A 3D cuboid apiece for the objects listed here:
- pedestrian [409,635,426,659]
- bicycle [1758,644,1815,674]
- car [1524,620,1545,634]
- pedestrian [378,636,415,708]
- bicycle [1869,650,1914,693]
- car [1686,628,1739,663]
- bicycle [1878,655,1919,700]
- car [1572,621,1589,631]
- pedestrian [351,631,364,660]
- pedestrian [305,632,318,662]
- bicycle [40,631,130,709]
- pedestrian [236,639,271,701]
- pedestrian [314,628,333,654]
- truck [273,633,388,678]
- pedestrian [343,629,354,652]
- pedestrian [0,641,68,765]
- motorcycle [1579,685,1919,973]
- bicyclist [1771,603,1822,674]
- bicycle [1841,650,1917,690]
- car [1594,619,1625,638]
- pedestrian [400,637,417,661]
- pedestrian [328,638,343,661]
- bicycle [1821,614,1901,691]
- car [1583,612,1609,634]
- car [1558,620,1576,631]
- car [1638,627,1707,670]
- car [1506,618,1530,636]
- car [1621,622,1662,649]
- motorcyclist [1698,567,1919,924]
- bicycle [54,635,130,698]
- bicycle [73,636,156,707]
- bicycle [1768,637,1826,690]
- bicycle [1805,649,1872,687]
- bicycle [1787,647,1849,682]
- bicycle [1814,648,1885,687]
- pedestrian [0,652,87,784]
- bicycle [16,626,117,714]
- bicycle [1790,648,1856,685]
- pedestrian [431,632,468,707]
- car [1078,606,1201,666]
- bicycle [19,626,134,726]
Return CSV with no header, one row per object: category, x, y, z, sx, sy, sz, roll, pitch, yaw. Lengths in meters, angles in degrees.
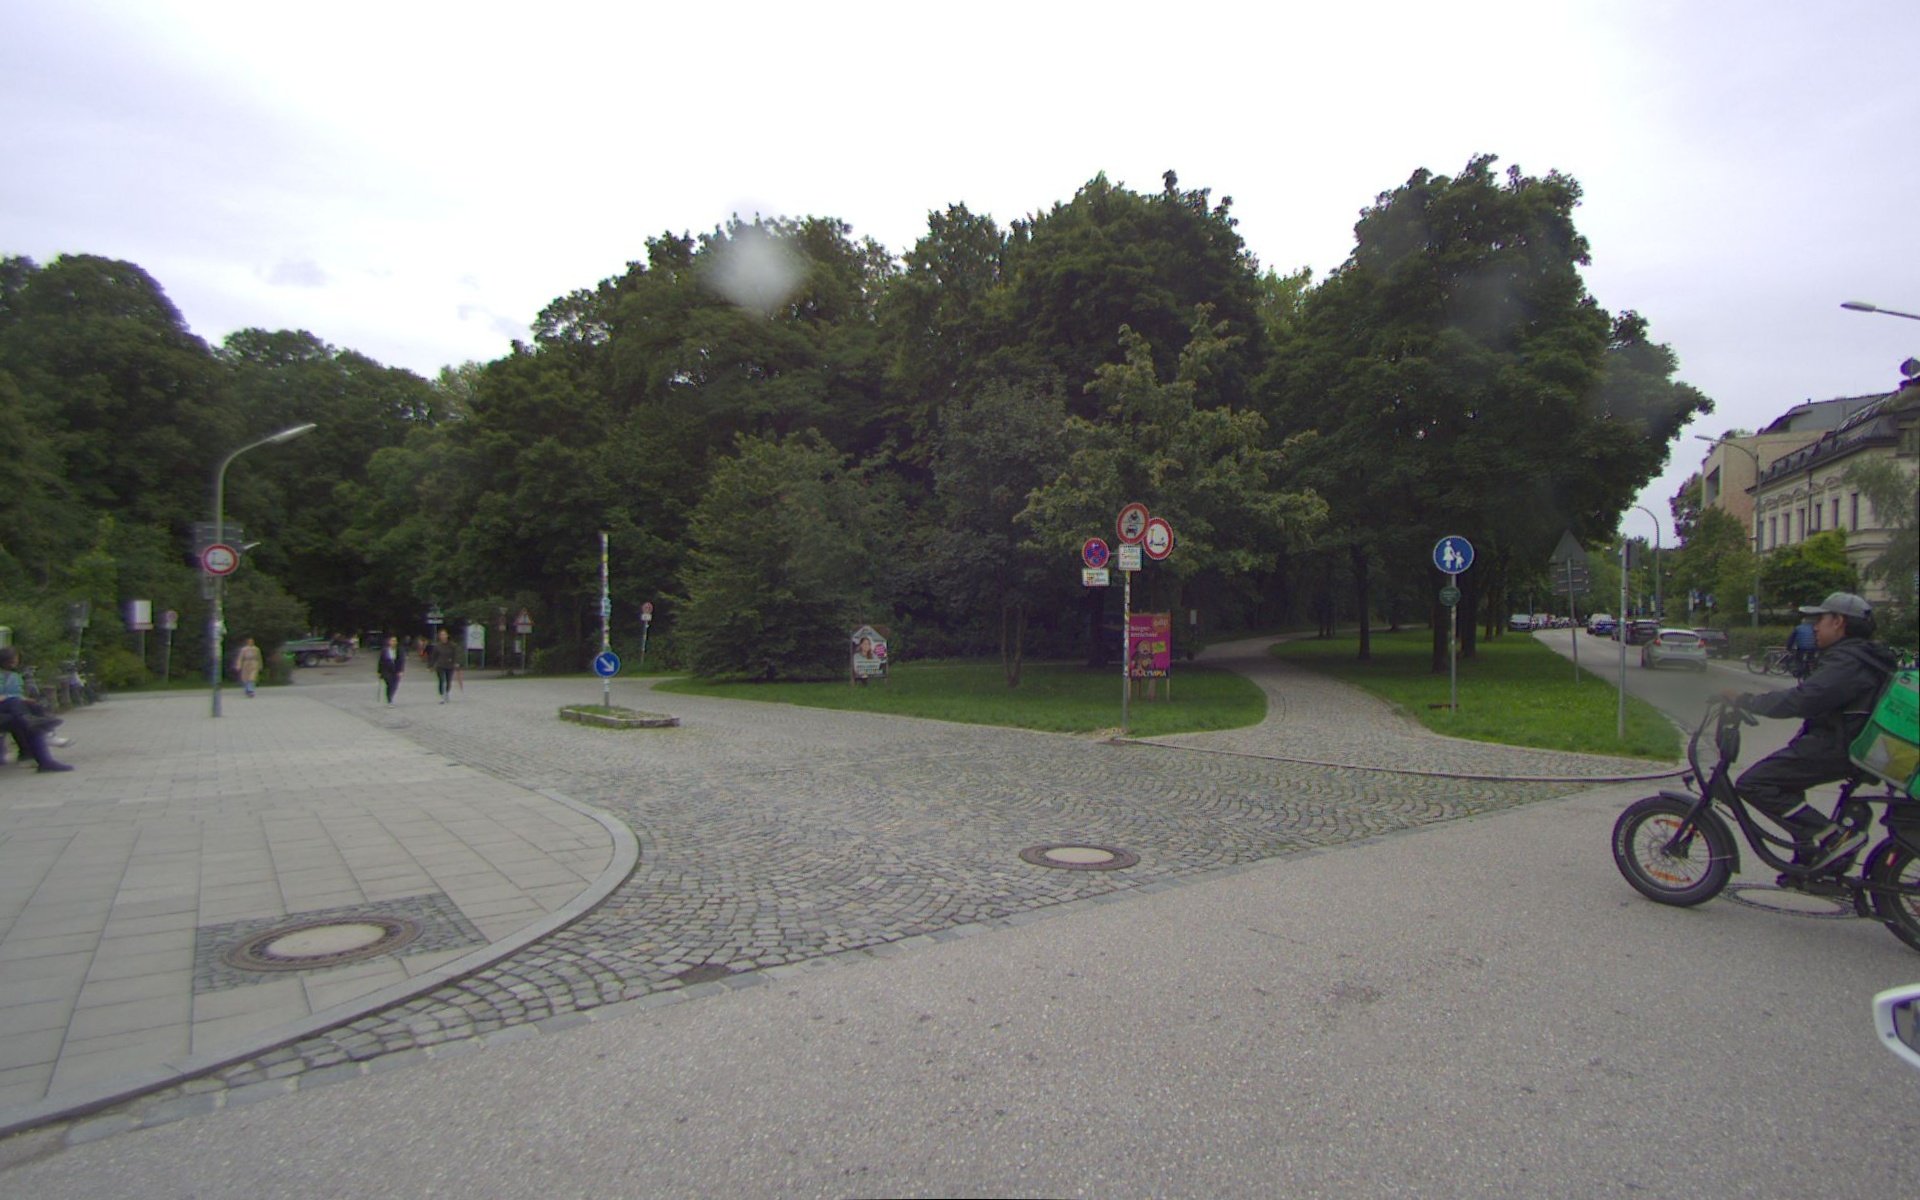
pedestrian,-39.373,3.394,72.927,0.721,1.674,0.879,-1,-1,36
bicycle,28.917,2.059,35.162,1.506,1.028,0.410,0,-1,13
car,68.708,3.211,120.182,1.966,1.622,4.456,0,-1,33
pedestrian,-12.956,1.637,23.085,0.684,1.602,0.745,1,-1,-32
bicycle,23.457,1.788,25.298,1.519,1.028,0.364,1,-1,-29
car,36.043,2.150,48.198,1.623,1.579,3.552,0,-1,30
bicycle,22.588,1.813,23.560,1.509,1.028,0.367,-1,-1,28
car,103.151,4.315,166.999,1.968,1.622,4.450,0,-1,37
pedestrian,-42.565,3.189,70.950,0.690,2.040,0.711,0,-1,-37
pedestrian,-45.096,3.256,69.841,0.690,2.040,0.711,0,-1,-37
bicycle,-20.740,1.606,23.778,3.103,1.684,1.048,0,-1,38
pedestrian,-20.844,2.046,29.637,0.743,1.728,1.099,1,-1,-40
pedestrian,-50.275,3.258,79.307,1.045,2.040,1.134,1,-2,-43
truck,-38.175,3.330,61.089,2.356,2.493,5.487,0,-1,27
pedestrian,-40.975,2.698,67.301,0.535,1.514,0.537,1,-1,-40
pedestrian,-10.988,1.165,11.582,1.025,1.353,0.943,1,-1,-43
motorcycle,4.174,1.039,4.798,0.711,1.113,1.959,1,-1,-34
bicyclist,21.814,0.987,26.227,0.902,1.787,1.211,0,-1,34
bicycle,24.043,1.834,26.293,1.506,1.028,0.367,0,-1,9
car,57.762,2.509,89.383,1.963,1.622,4.248,0,-1,28
pedestrian,-39.255,3.499,71.451,0.867,1.674,0.731,0,-1,-12
pedestrian,-41.740,3.289,67.146,0.653,1.514,0.626,0,-1,-17
bicycle,24.023,1.392,26.798,1.643,2.040,0.457,0,-1,4
car,61.903,2.248,97.800,2.036,1.992,4.966,0,-1,31
car,93.786,3.916,155.208,1.968,1.622,4.450,0,-1,37
car,25.543,1.707,36.109,1.722,1.425,3.719,0,-1,31
car,51.834,2.501,93.370,1.964,1.622,4.460,0,-1,29
car,44.780,2.282,66.032,1.766,1.702,3.995,0,-1,27
motorcyclist,4.182,0.626,4.785,0.706,1.521,0.890,1,-1,-34
bicycle,-25.329,1.888,29.293,3.102,1.684,1.048,0,-1,37
bicycle,-22.127,1.825,26.264,3.103,1.684,1.048,0,-1,38
bicycle,21.775,1.624,26.175,0.908,1.269,2.315,0,-1,34
bicycle,24.418,1.894,27.933,1.507,1.028,0.409,0,-1,0
bicycle,25.536,1.919,29.898,1.507,1.028,0.409,0,-1,0
bicycle,24.272,1.835,27.408,1.507,1.028,0.409,0,-1,4
pedestrian,-9.884,1.203,10.384,1.257,1.285,0.840,1,-1,-43
bicycle,-18.876,1.416,21.193,2.956,1.684,1.048,0,-1,38
bicycle,24.428,1.879,28.437,1.507,1.028,0.409,0,-1,0
pedestrian,-12.093,1.619,23.790,0.654,1.720,0.744,1,-1,-35
car,6.306,1.280,35.518,3.924,2.040,1.786,1,-1,-6
bicycle,-16.644,1.360,18.883,3.102,1.684,1.048,0,-1,38
